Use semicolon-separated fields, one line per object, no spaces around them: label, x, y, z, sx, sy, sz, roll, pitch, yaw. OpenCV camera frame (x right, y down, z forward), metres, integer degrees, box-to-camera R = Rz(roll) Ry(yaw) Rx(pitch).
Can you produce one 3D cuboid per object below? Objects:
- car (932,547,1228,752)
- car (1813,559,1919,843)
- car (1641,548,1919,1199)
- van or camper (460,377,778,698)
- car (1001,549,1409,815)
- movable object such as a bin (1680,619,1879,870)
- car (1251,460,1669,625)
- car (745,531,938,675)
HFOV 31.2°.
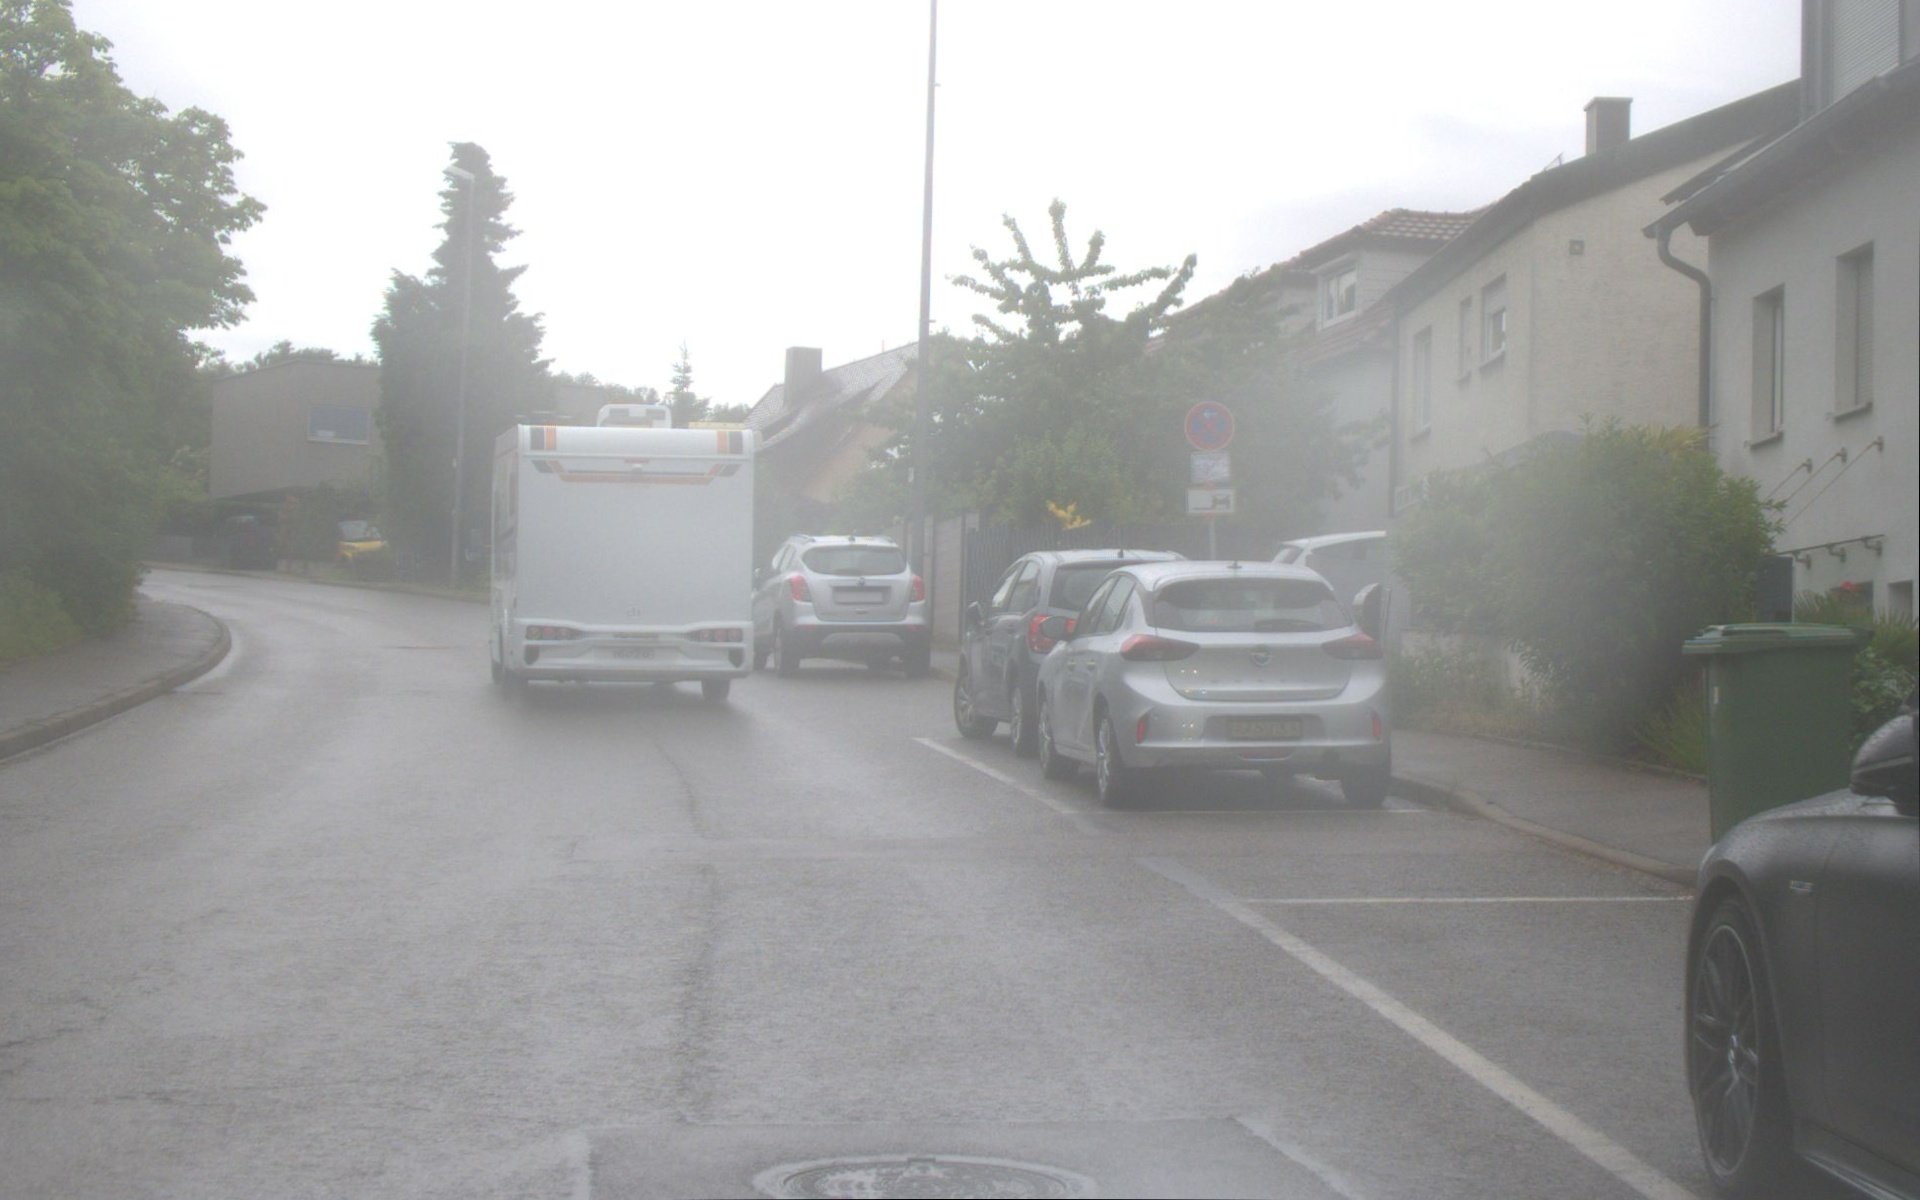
car;0.866;0.329;27.012;1.659;1.462;3.764;-1;1;-8
car;6.820;0.756;18.006;3.986;1.437;2.000;7;0;-5
car;2.732;0.679;6.032;1.857;1.522;5.064;-1;1;-2
van or camper;-3.557;-0.603;34.655;2.539;2.915;5.950;1;1;-12
car;1.431;0.433;21.732;1.768;1.462;4.236;-1;1;-7
movable object such as a bin;3.603;0.625;15.152;0.676;1.064;0.645;1;1;-4
car;5.235;-0.583;36.296;3.986;1.584;1.935;1;0;-5
car;-1.481;-0.008;41.389;1.804;1.621;4.289;-1;1;-9
